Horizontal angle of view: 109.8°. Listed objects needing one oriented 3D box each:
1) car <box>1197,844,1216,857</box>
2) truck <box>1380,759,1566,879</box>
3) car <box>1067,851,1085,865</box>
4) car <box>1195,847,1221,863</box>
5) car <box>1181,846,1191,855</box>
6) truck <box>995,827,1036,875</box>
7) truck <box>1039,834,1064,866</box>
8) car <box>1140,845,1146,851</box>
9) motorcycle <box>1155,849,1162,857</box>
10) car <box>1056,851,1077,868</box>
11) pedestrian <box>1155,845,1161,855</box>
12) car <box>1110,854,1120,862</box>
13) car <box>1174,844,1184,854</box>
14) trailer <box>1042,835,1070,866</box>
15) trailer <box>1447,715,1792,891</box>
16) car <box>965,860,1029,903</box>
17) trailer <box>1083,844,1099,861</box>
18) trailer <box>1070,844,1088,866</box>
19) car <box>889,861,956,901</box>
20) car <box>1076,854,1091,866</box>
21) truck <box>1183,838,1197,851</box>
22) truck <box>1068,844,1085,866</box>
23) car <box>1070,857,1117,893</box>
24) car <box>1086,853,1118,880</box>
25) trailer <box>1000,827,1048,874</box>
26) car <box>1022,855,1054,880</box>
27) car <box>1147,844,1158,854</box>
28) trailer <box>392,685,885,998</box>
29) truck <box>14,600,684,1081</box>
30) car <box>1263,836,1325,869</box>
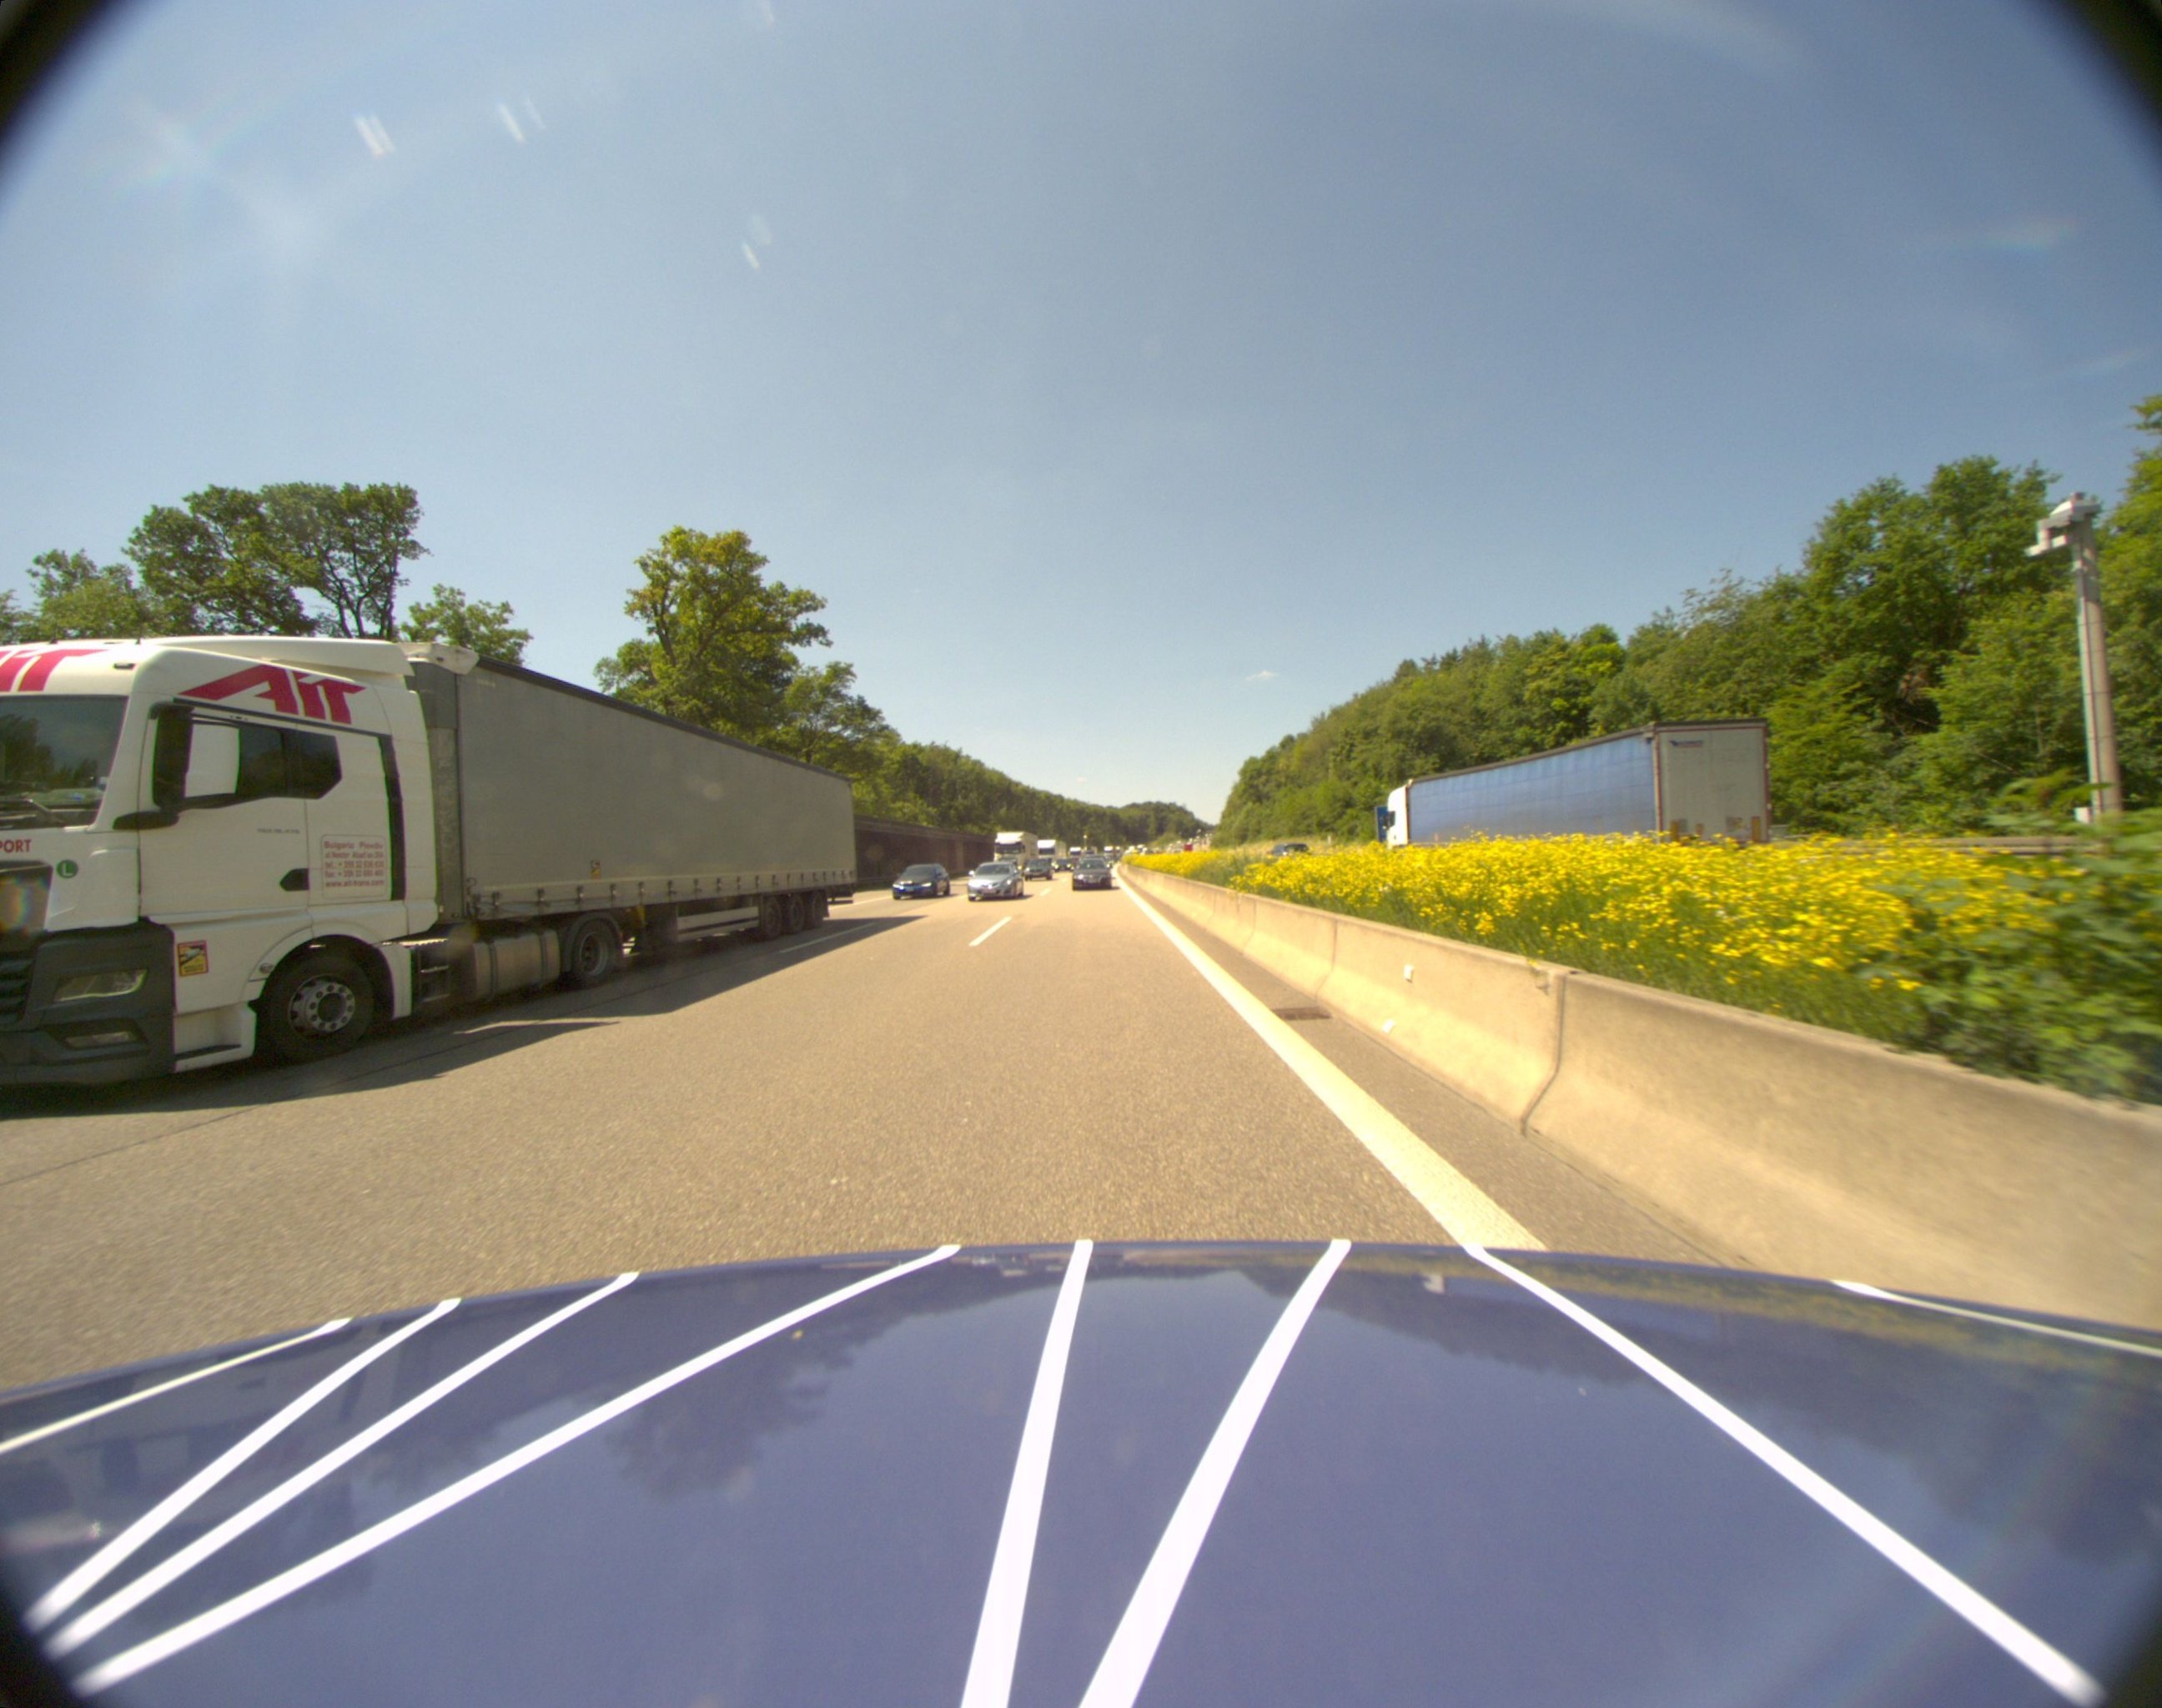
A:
[{"bbox_3d":[17.368,-0.488,105.015,1.886,1.755,4.322,-3,0,1],"label":"car"},{"bbox_3d":[14.652,-1.162,29.378,2.755,3.834,8.412,-3,0,0],"label":"truck"},{"bbox_3d":[-0.564,0.446,96.188,1.998,1.641,4.000,-3,0,3],"label":"car"},{"bbox_3d":[12.444,0.080,74.619,1.809,1.480,4.000,-3,0,0],"label":"car"},{"bbox_3d":[21.979,-0.750,158.949,1.780,1.619,4.118,-2,1,2],"label":"car"},{"bbox_3d":[-6.003,-0.288,70.258,2.811,4.190,5.422,-3,0,4],"label":"truck"},{"bbox_3d":[-3.968,-0.568,104.245,2.544,4.150,4.747,-3,0,6],"label":"truck"},{"bbox_3d":[21.268,-1.938,259.888,1.998,2.002,4.001,-3,0,4],"label":"car"},{"bbox_3d":[10.108,-0.161,99.352,0.668,1.035,1.476,-3,0,1],"label":"motorcycle"},{"bbox_3d":[-1.472,0.606,80.103,1.998,1.641,4.000,-3,0,1],"label":"car"},{"bbox_3d":[10.097,-0.529,99.376,0.663,1.357,0.532,-3,1,0],"label":"pedestrian"},{"bbox_3d":[7.295,0.886,161.984,1.998,1.641,4.000,-3,0,3],"label":"car"},{"bbox_3d":[26.613,-1.467,206.126,2.161,2.608,5.976,-2,1,2],"label":"car"},{"bbox_3d":[-3.496,-0.491,108.851,2.541,4.150,10.180,-3,0,6],"label":"trailer"},{"bbox_3d":[14.612,-1.162,22.231,2.788,3.834,10.169,-3,0,0],"label":"trailer"},{"bbox_3d":[-3.193,1.014,29.652,1.860,1.426,4.177,-3,0,2],"label":"car"},{"bbox_3d":[2.514,-0.349,191.828,3.154,4.061,6.185,-3,0,7],"label":"trailer"},{"bbox_3d":[-0.386,0.171,168.124,2.853,4.391,13.030,-3,0,4],"label":"trailer"},{"bbox_3d":[-6.839,1.126,33.214,1.860,1.484,4.177,-3,0,2],"label":"car"},{"bbox_3d":[0.347,0.896,114.425,1.998,1.641,4.000,-3,0,3],"label":"car"},{"bbox_3d":[34.708,-3.086,242.555,3.929,3.697,16.747,-2,1,6],"label":"truck"},{"bbox_3d":[-0.948,0.228,160.463,2.853,4.382,5.240,-3,0,4],"label":"truck"},{"bbox_3d":[0.555,0.880,33.874,1.907,1.410,4.000,-3,0,0],"label":"car"},{"bbox_3d":[1.430,0.791,50.690,1.998,1.641,4.000,-2,1,3],"label":"car"},{"bbox_3d":[-5.551,-0.341,76.885,2.821,4.190,13.467,-3,0,4],"label":"trailer"},{"bbox_3d":[-2.922,0.890,52.613,1.907,1.550,4.000,-3,0,0],"label":"car"},{"bbox_3d":[16.259,-1.121,173.108,2.328,2.002,6.184,-2,1,4],"label":"car"},{"bbox_3d":[-7.641,-0.236,16.914,2.604,4.067,13.590,-2,1,1],"label":"trailer"},{"bbox_3d":[-7.773,-0.132,9.357,2.604,4.067,5.552,-2,1,1],"label":"truck"},{"bbox_3d":[11.365,-0.107,40.829,1.998,1.553,4.639,-3,1,0],"label":"car"}]
